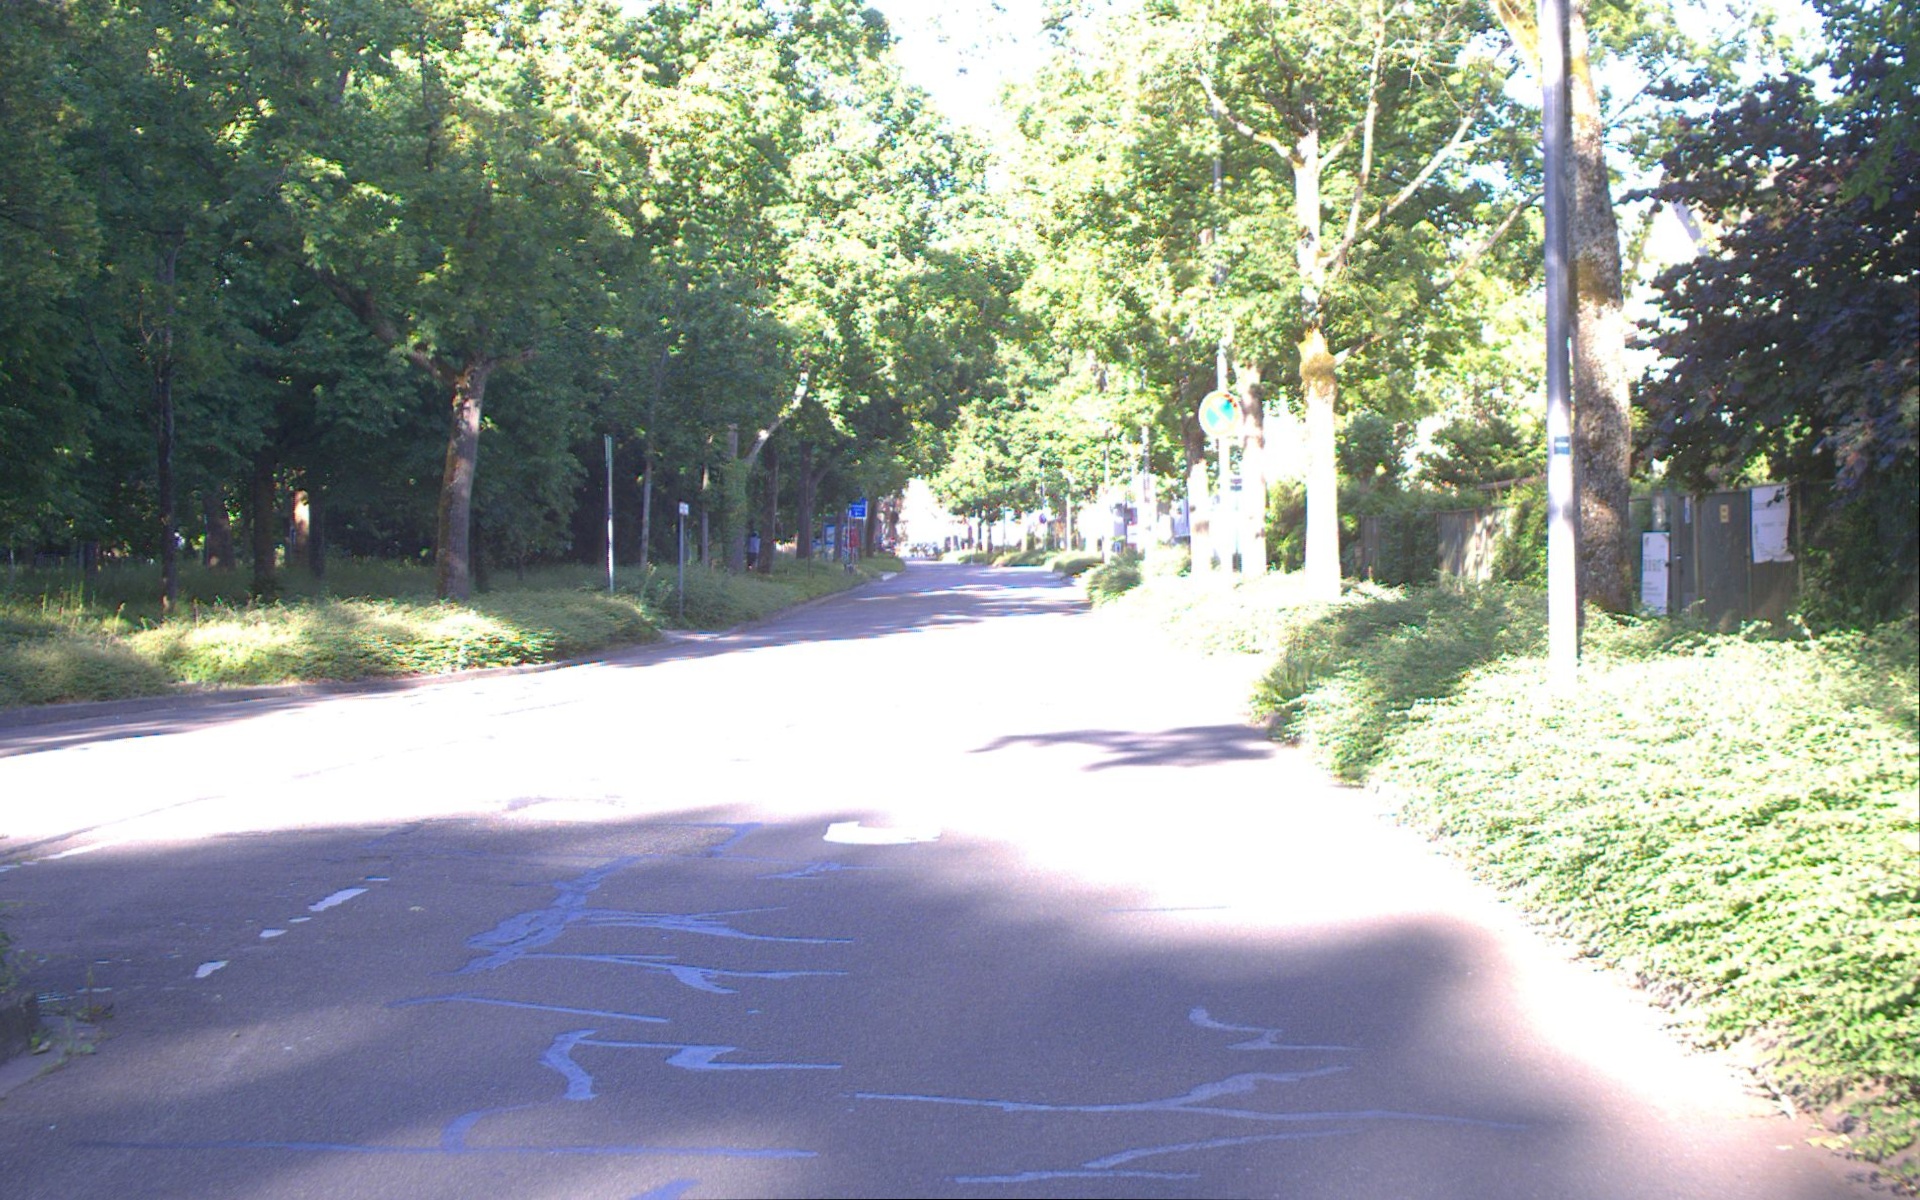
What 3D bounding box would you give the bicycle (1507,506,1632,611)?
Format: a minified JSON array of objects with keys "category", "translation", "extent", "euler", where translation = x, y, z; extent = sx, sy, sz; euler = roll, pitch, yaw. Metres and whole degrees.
[{"category":"bicycle","translation":[7.588,-0.532,42.722],"extent":[0.884,1.196,2.323],"euler":[-2,1,26]}]
